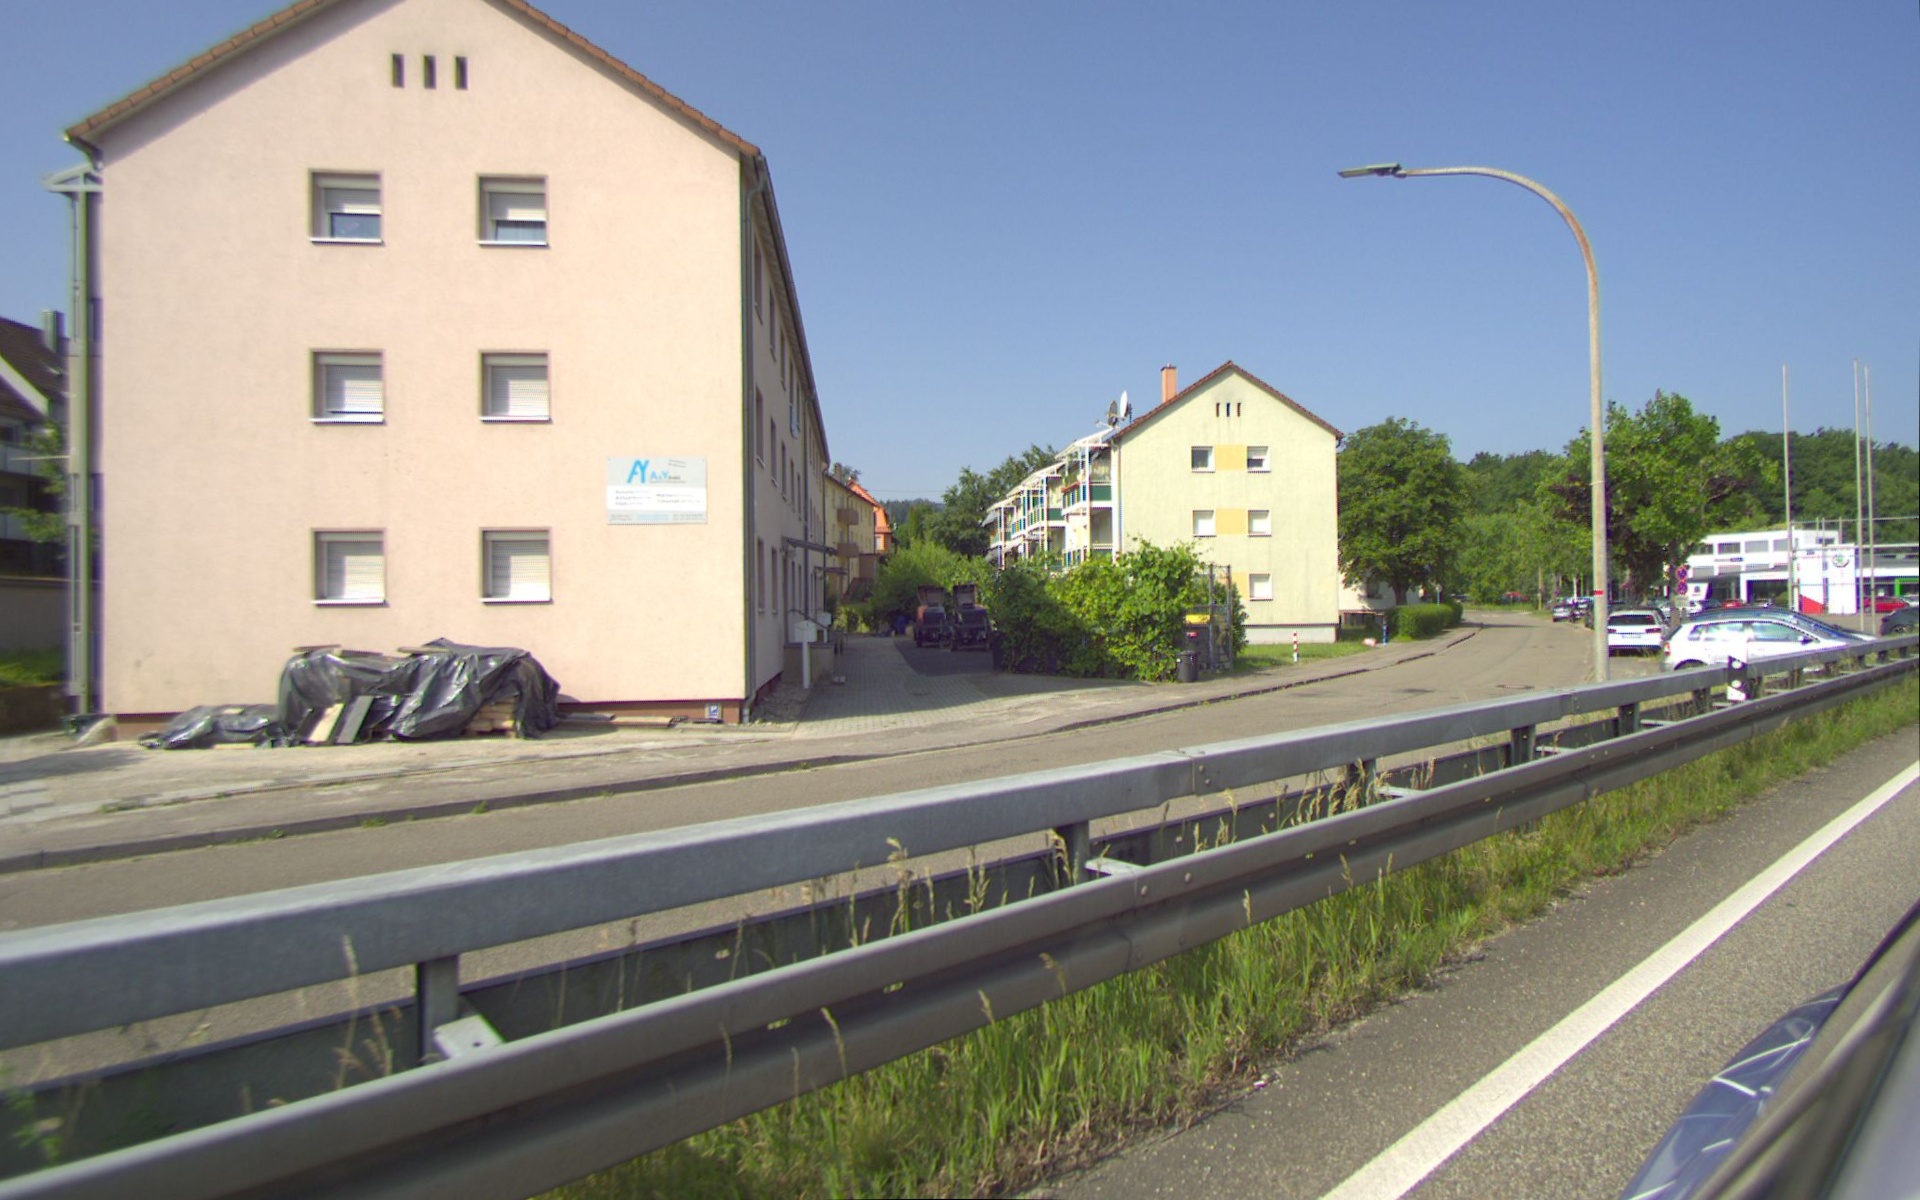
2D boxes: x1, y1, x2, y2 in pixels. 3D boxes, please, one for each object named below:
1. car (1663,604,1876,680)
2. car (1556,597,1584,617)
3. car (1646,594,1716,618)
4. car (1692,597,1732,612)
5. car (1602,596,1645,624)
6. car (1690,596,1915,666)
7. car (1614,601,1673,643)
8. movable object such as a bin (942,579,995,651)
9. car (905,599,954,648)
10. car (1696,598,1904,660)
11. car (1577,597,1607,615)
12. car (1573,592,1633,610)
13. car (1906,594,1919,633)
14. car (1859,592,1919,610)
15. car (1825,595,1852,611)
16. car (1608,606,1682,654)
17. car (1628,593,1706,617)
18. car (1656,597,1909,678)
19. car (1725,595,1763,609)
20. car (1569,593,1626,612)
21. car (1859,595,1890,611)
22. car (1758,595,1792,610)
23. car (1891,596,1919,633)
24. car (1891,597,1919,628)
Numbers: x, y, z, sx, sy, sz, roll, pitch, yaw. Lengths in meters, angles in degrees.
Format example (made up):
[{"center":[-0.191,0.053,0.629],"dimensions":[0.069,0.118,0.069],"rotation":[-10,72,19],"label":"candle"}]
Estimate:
[{"center":[16.549,0.863,20.794],"dimensions":[3.259,1.394,1.526],"rotation":[-3,-1,41],"label":"car"},{"center":[47.936,0.516,79.484],"dimensions":[1.774,1.493,3.942],"rotation":[0,1,33],"label":"car"},{"center":[48.900,0.388,68.679],"dimensions":[3.736,1.541,1.639],"rotation":[0,0,32],"label":"car"},{"center":[84.239,0.451,113.383],"dimensions":[4.372,1.565,1.843],"rotation":[-1,1,-27],"label":"car"},{"center":[37.315,0.535,56.977],"dimensions":[1.900,1.423,4.473],"rotation":[0,1,32],"label":"car"},{"center":[20.242,0.768,24.436],"dimensions":[3.984,1.468,1.738],"rotation":[-5,-3,43],"label":"car"},{"center":[25.616,0.770,38.025],"dimensions":[1.696,1.423,4.433],"rotation":[0,1,32],"label":"car"},{"center":[0.370,0.516,36.918],"dimensions":[1.557,2.387,3.529],"rotation":[-3,0,5],"label":"movable object such as a bin"},{"center":[-1.246,0.905,41.305],"dimensions":[1.782,1.760,4.001],"rotation":[-3,0,-2],"label":"car"},{"center":[21.682,0.703,26.350],"dimensions":[4.048,1.470,1.706],"rotation":[0,1,37],"label":"car"},{"center":[46.058,0.403,73.778],"dimensions":[1.579,1.201,3.626],"rotation":[0,1,28],"label":"car"},{"center":[61.446,0.092,96.779],"dimensions":[4.707,1.608,1.913],"rotation":[1,1,28],"label":"car"},{"center":[42.589,0.580,42.061],"dimensions":[2.096,1.660,4.341],"rotation":[-1,1,-25],"label":"car"},{"center":[87.008,0.090,94.096],"dimensions":[1.892,1.584,4.759],"rotation":[-1,2,-27],"label":"car"},{"center":[94.151,0.281,108.435],"dimensions":[1.997,1.565,4.539],"rotation":[1,2,43],"label":"car"},{"center":[22.453,0.929,33.095],"dimensions":[1.779,1.438,4.379],"rotation":[0,0,37],"label":"car"},{"center":[50.460,0.347,72.332],"dimensions":[4.466,1.620,1.819],"rotation":[0,1,34],"label":"car"},{"center":[18.557,0.877,23.037],"dimensions":[4.226,1.593,1.891],"rotation":[-5,-3,41],"label":"car"},{"center":[89.176,0.215,115.092],"dimensions":[4.521,1.565,2.004],"rotation":[-1,2,-33],"label":"car"},{"center":[63.806,0.221,101.257],"dimensions":[4.723,1.802,1.907],"rotation":[1,2,36],"label":"car"},{"center":[96.451,0.290,106.746],"dimensions":[1.992,1.565,4.549],"rotation":[1,2,37],"label":"car"},{"center":[90.740,0.241,112.690],"dimensions":[4.527,1.565,2.002],"rotation":[-1,2,-39],"label":"car"},{"center":[40.179,0.550,40.297],"dimensions":[1.845,1.502,4.165],"rotation":[-1,-1,-31],"label":"car"},{"center":[46.195,0.602,46.829],"dimensions":[1.597,1.462,4.334],"rotation":[-1,1,-35],"label":"car"}]
